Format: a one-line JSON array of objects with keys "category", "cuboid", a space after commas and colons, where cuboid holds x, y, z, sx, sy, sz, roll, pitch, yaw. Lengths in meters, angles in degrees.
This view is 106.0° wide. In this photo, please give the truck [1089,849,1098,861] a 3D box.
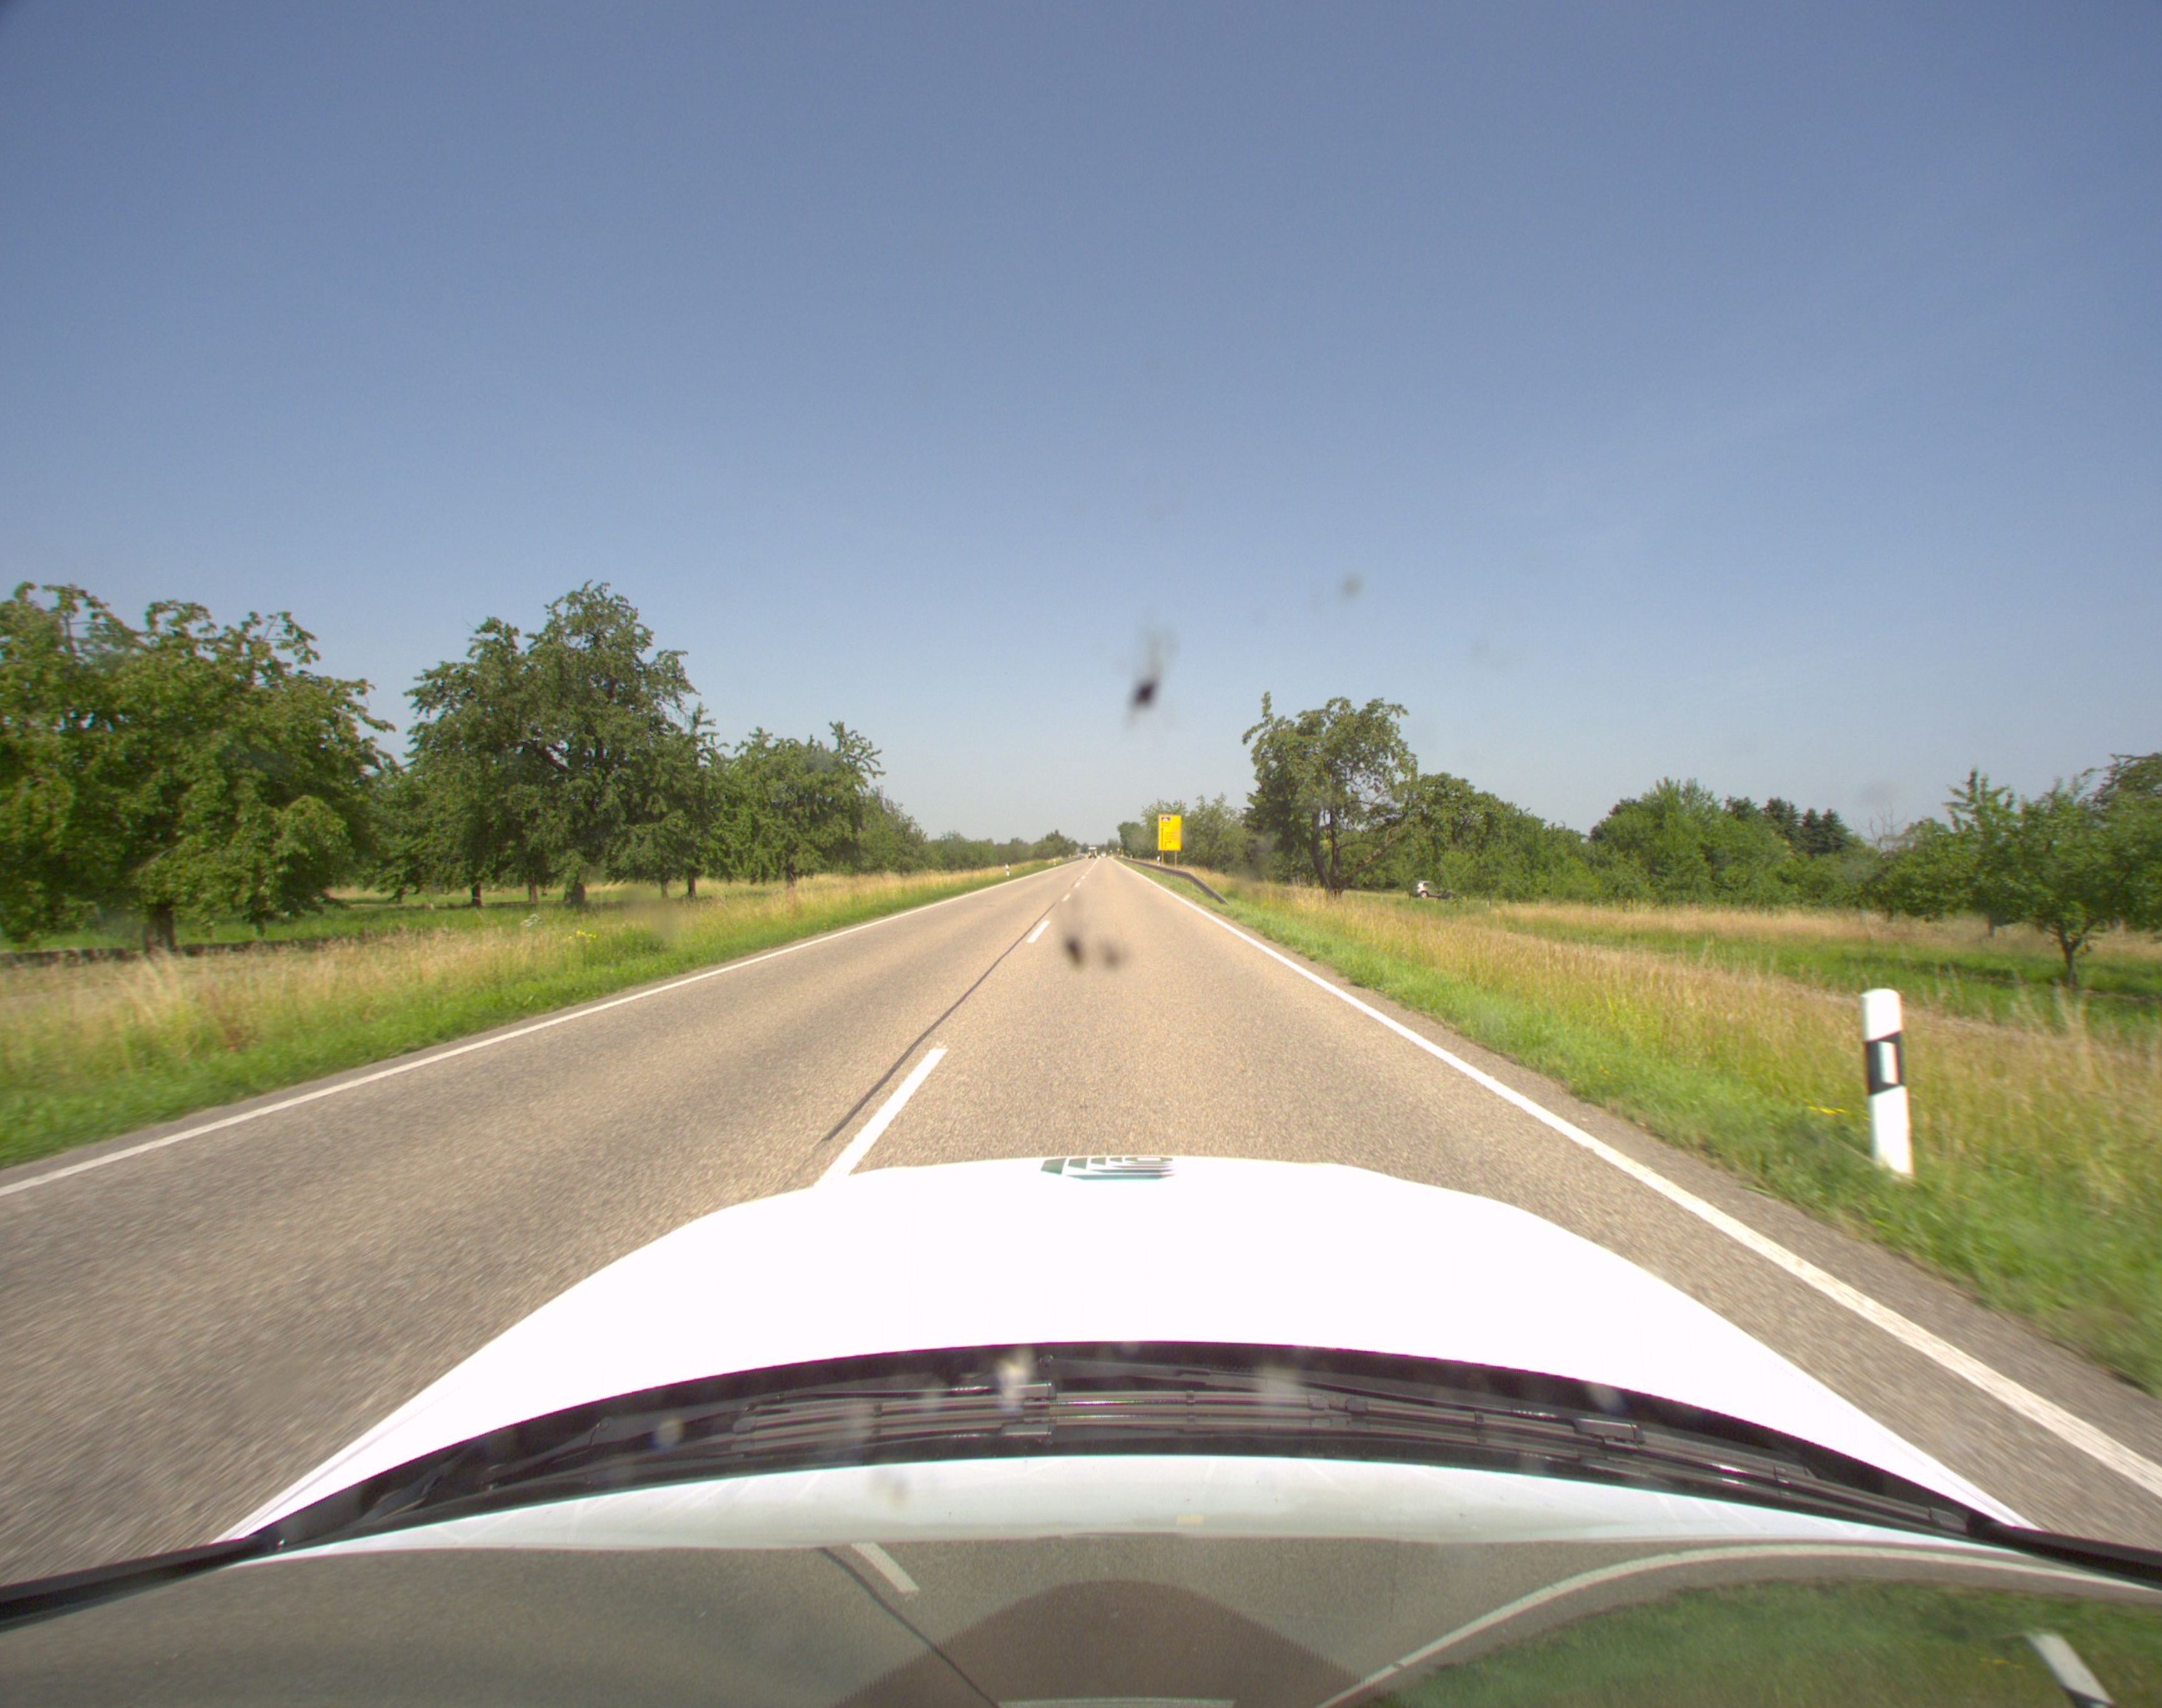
[{"category": "truck", "cuboid": [3.962, 0.459, 259.917, 2.718, 3.672, 9.385, 0, -1, 1]}]

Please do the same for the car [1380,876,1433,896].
[{"category": "car", "cuboid": [29.409, 2.894, 73.629, 4.075, 1.534, 1.852, 3, -1, -8]}]
